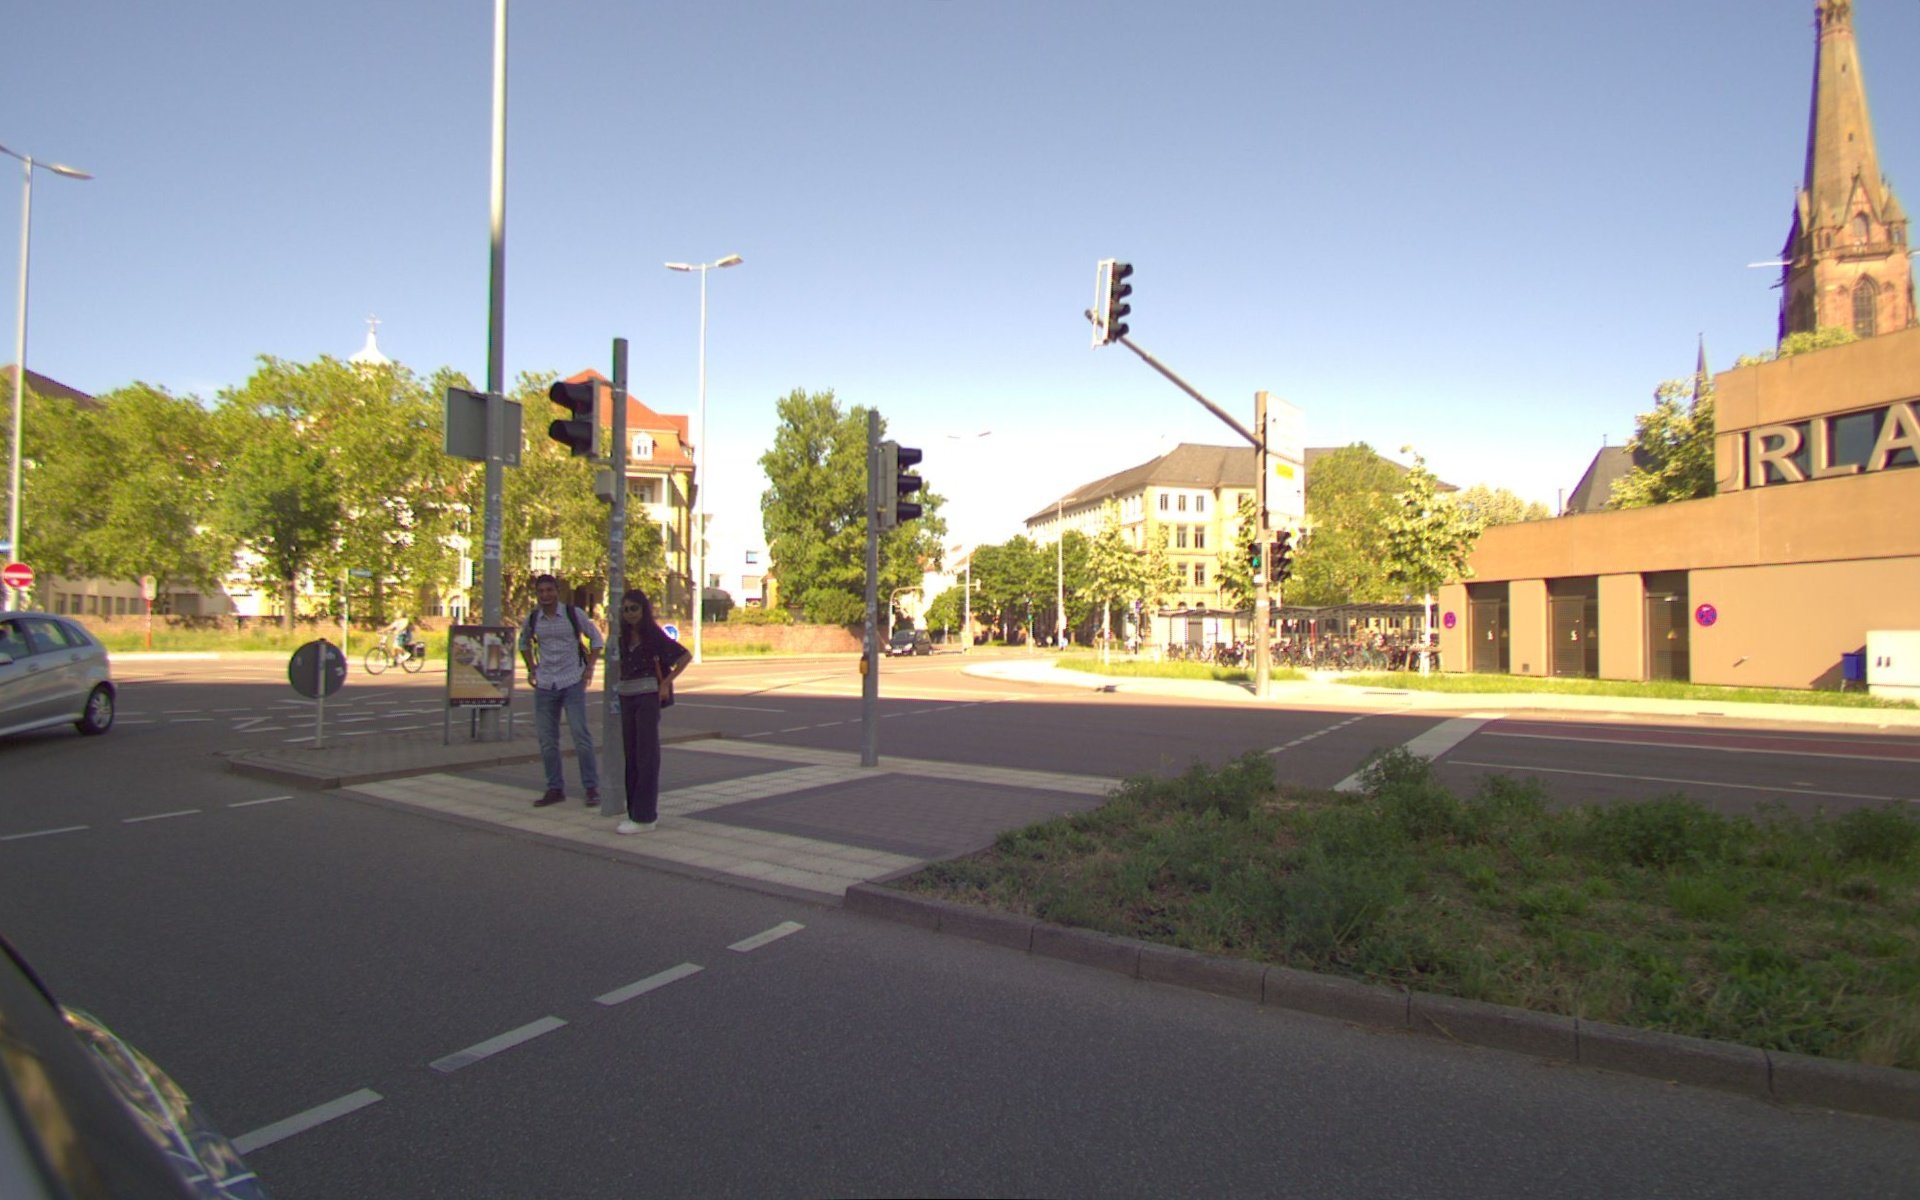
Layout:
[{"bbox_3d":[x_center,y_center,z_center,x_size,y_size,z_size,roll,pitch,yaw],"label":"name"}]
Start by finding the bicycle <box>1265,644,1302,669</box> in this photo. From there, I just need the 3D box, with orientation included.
[{"bbox_3d":[13.951,2.426,43.734,0.558,1.046,1.793,2,-2,-19],"label":"bicycle"}]

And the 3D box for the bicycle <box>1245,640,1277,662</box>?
[{"bbox_3d":[14.950,2.520,50.254,0.558,1.046,1.793,2,-2,-19],"label":"bicycle"}]

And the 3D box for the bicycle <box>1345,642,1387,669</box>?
[{"bbox_3d":[16.465,2.230,41.104,0.558,1.046,1.793,2,-2,-19],"label":"bicycle"}]

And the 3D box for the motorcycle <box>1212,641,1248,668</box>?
[{"bbox_3d":[11.602,2.342,43.596,0.585,1.128,1.990,1,-2,-15],"label":"motorcycle"}]

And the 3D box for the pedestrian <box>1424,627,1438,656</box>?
[{"bbox_3d":[29.072,2.576,62.501,0.671,1.736,0.539,8,-8,-41],"label":"pedestrian"}]

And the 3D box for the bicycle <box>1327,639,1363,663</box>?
[{"bbox_3d":[18.034,2.380,47.413,0.558,1.046,1.793,2,-2,-19],"label":"bicycle"}]

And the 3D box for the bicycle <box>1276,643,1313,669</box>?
[{"bbox_3d":[14.511,2.416,43.930,0.558,1.046,1.793,2,-2,-19],"label":"bicycle"}]

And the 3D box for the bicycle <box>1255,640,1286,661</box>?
[{"bbox_3d":[16.233,2.643,52.962,0.558,1.046,1.793,2,-2,-19],"label":"bicycle"}]

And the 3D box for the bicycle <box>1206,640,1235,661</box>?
[{"bbox_3d":[13.362,2.581,51.944,0.558,1.046,1.793,2,-2,-19],"label":"bicycle"}]

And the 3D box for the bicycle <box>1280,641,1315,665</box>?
[{"bbox_3d":[15.525,2.423,46.588,0.558,1.046,1.793,2,-2,-19],"label":"bicycle"}]

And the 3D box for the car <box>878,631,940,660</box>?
[{"bbox_3d":[-2.764,2.498,55.577,1.984,1.484,4.271,-3,-3,18],"label":"car"}]

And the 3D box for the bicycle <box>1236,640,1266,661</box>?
[{"bbox_3d":[15.118,2.628,52.580,0.558,1.046,1.793,2,-2,-19],"label":"bicycle"}]

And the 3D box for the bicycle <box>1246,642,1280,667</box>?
[{"bbox_3d":[13.723,2.467,45.893,0.558,1.046,1.793,2,-2,-19],"label":"bicycle"}]

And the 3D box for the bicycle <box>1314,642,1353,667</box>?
[{"bbox_3d":[16.440,2.389,44.586,0.558,1.046,1.793,2,-2,-19],"label":"bicycle"}]

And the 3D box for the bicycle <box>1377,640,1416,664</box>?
[{"bbox_3d":[19.657,2.335,45.626,0.558,1.046,1.793,2,-2,-19],"label":"bicycle"}]

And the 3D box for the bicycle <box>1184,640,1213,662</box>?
[{"bbox_3d":[12.135,2.585,51.517,0.558,1.046,1.793,2,-2,-19],"label":"bicycle"}]

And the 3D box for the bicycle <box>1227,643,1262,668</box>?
[{"bbox_3d":[12.715,2.488,45.289,0.558,1.046,1.793,2,-2,-19],"label":"bicycle"}]

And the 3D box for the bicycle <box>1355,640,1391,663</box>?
[{"bbox_3d":[19.474,2.417,47.756,0.558,1.046,1.793,2,-2,-19],"label":"bicycle"}]

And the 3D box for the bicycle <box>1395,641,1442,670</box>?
[{"bbox_3d":[17.592,2.113,38.839,0.558,1.046,1.793,2,-2,-19],"label":"bicycle"}]

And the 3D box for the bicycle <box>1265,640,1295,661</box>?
[{"bbox_3d":[16.791,2.647,53.134,0.558,1.046,1.793,2,-2,-19],"label":"bicycle"}]

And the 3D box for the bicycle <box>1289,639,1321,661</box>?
[{"bbox_3d":[17.374,2.524,50.988,0.558,1.046,1.793,2,-2,-19],"label":"bicycle"}]

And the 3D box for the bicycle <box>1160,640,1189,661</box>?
[{"bbox_3d":[10.822,2.537,51.075,0.558,1.046,1.793,2,-2,-19],"label":"bicycle"}]

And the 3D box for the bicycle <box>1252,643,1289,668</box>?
[{"bbox_3d":[13.329,2.378,43.535,0.558,1.046,1.793,2,-2,-19],"label":"bicycle"}]

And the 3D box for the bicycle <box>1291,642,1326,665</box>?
[{"bbox_3d":[16.101,2.463,46.772,0.558,1.046,1.793,2,-2,-19],"label":"bicycle"}]

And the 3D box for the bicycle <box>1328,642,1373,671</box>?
[{"bbox_3d":[14.781,2.129,38.304,0.558,1.046,1.793,2,-2,-19],"label":"bicycle"}]

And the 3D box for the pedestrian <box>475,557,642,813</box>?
[{"bbox_3d":[-3.095,0.622,7.899,0.748,1.846,1.092,-1,-1,11],"label":"pedestrian"}]

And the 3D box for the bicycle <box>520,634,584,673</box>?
[{"bbox_3d":[-12.684,1.657,31.546,0.773,1.174,1.956,-2,-3,18],"label":"bicycle"}]

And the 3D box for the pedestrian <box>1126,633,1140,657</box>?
[{"bbox_3d":[12.110,3.148,70.889,0.784,1.694,0.644,-3,-3,20],"label":"pedestrian"}]

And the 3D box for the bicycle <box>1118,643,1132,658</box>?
[{"bbox_3d":[13.169,3.994,80.745,0.742,1.174,1.859,1,-2,18],"label":"bicycle"}]

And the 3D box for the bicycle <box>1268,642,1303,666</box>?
[{"bbox_3d":[14.889,2.450,46.392,0.558,1.046,1.793,2,-2,-19],"label":"bicycle"}]

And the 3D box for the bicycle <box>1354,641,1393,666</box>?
[{"bbox_3d":[18.493,2.387,45.261,0.558,1.046,1.793,2,-2,-19],"label":"bicycle"}]

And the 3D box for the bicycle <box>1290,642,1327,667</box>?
[{"bbox_3d":[15.196,2.376,44.192,0.558,1.046,1.793,2,-2,-19],"label":"bicycle"}]

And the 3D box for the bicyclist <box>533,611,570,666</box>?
[{"bbox_3d":[-12.707,1.186,31.486,0.779,1.675,0.772,-2,-2,19],"label":"bicyclist"}]

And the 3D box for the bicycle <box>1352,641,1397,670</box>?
[{"bbox_3d":[15.722,2.109,38.432,0.558,1.046,1.793,2,-2,-19],"label":"bicycle"}]

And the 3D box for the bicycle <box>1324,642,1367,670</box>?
[{"bbox_3d":[15.380,2.225,40.409,0.558,1.046,1.793,2,-2,-19],"label":"bicycle"}]

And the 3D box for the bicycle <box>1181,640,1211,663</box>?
[{"bbox_3d":[11.455,2.495,49.150,0.558,1.046,1.793,2,-2,-19],"label":"bicycle"}]

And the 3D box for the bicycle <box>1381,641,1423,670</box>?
[{"bbox_3d":[16.868,2.109,38.661,0.558,1.046,1.792,2,-2,-11],"label":"bicycle"}]

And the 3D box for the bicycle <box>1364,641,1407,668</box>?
[{"bbox_3d":[17.403,2.210,41.396,0.558,1.046,1.793,2,-2,-19],"label":"bicycle"}]

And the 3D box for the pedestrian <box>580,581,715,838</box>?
[{"bbox_3d":[-2.140,0.703,6.908,0.671,1.624,0.721,1,-2,-37],"label":"pedestrian"}]

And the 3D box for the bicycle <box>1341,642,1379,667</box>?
[{"bbox_3d":[17.781,2.398,45.017,0.558,1.046,1.793,2,-2,-19],"label":"bicycle"}]

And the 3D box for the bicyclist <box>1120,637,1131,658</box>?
[{"bbox_3d":[13.188,3.764,80.792,0.716,1.633,0.971,0,-2,19],"label":"bicyclist"}]

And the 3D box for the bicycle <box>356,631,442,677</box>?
[{"bbox_3d":[-14.817,1.417,26.773,0.640,1.174,1.948,-2,-3,30],"label":"bicycle"}]

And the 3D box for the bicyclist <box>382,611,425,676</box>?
[{"bbox_3d":[-14.763,1.147,26.867,0.640,1.675,0.769,-2,-2,29],"label":"bicyclist"}]

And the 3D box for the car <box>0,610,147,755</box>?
[{"bbox_3d":[-11.585,0.942,11.565,1.742,1.606,4.650,0,-3,-14],"label":"car"}]

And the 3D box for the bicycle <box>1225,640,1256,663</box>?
[{"bbox_3d":[13.820,2.526,49.859,0.558,1.046,1.793,2,-2,-19],"label":"bicycle"}]
